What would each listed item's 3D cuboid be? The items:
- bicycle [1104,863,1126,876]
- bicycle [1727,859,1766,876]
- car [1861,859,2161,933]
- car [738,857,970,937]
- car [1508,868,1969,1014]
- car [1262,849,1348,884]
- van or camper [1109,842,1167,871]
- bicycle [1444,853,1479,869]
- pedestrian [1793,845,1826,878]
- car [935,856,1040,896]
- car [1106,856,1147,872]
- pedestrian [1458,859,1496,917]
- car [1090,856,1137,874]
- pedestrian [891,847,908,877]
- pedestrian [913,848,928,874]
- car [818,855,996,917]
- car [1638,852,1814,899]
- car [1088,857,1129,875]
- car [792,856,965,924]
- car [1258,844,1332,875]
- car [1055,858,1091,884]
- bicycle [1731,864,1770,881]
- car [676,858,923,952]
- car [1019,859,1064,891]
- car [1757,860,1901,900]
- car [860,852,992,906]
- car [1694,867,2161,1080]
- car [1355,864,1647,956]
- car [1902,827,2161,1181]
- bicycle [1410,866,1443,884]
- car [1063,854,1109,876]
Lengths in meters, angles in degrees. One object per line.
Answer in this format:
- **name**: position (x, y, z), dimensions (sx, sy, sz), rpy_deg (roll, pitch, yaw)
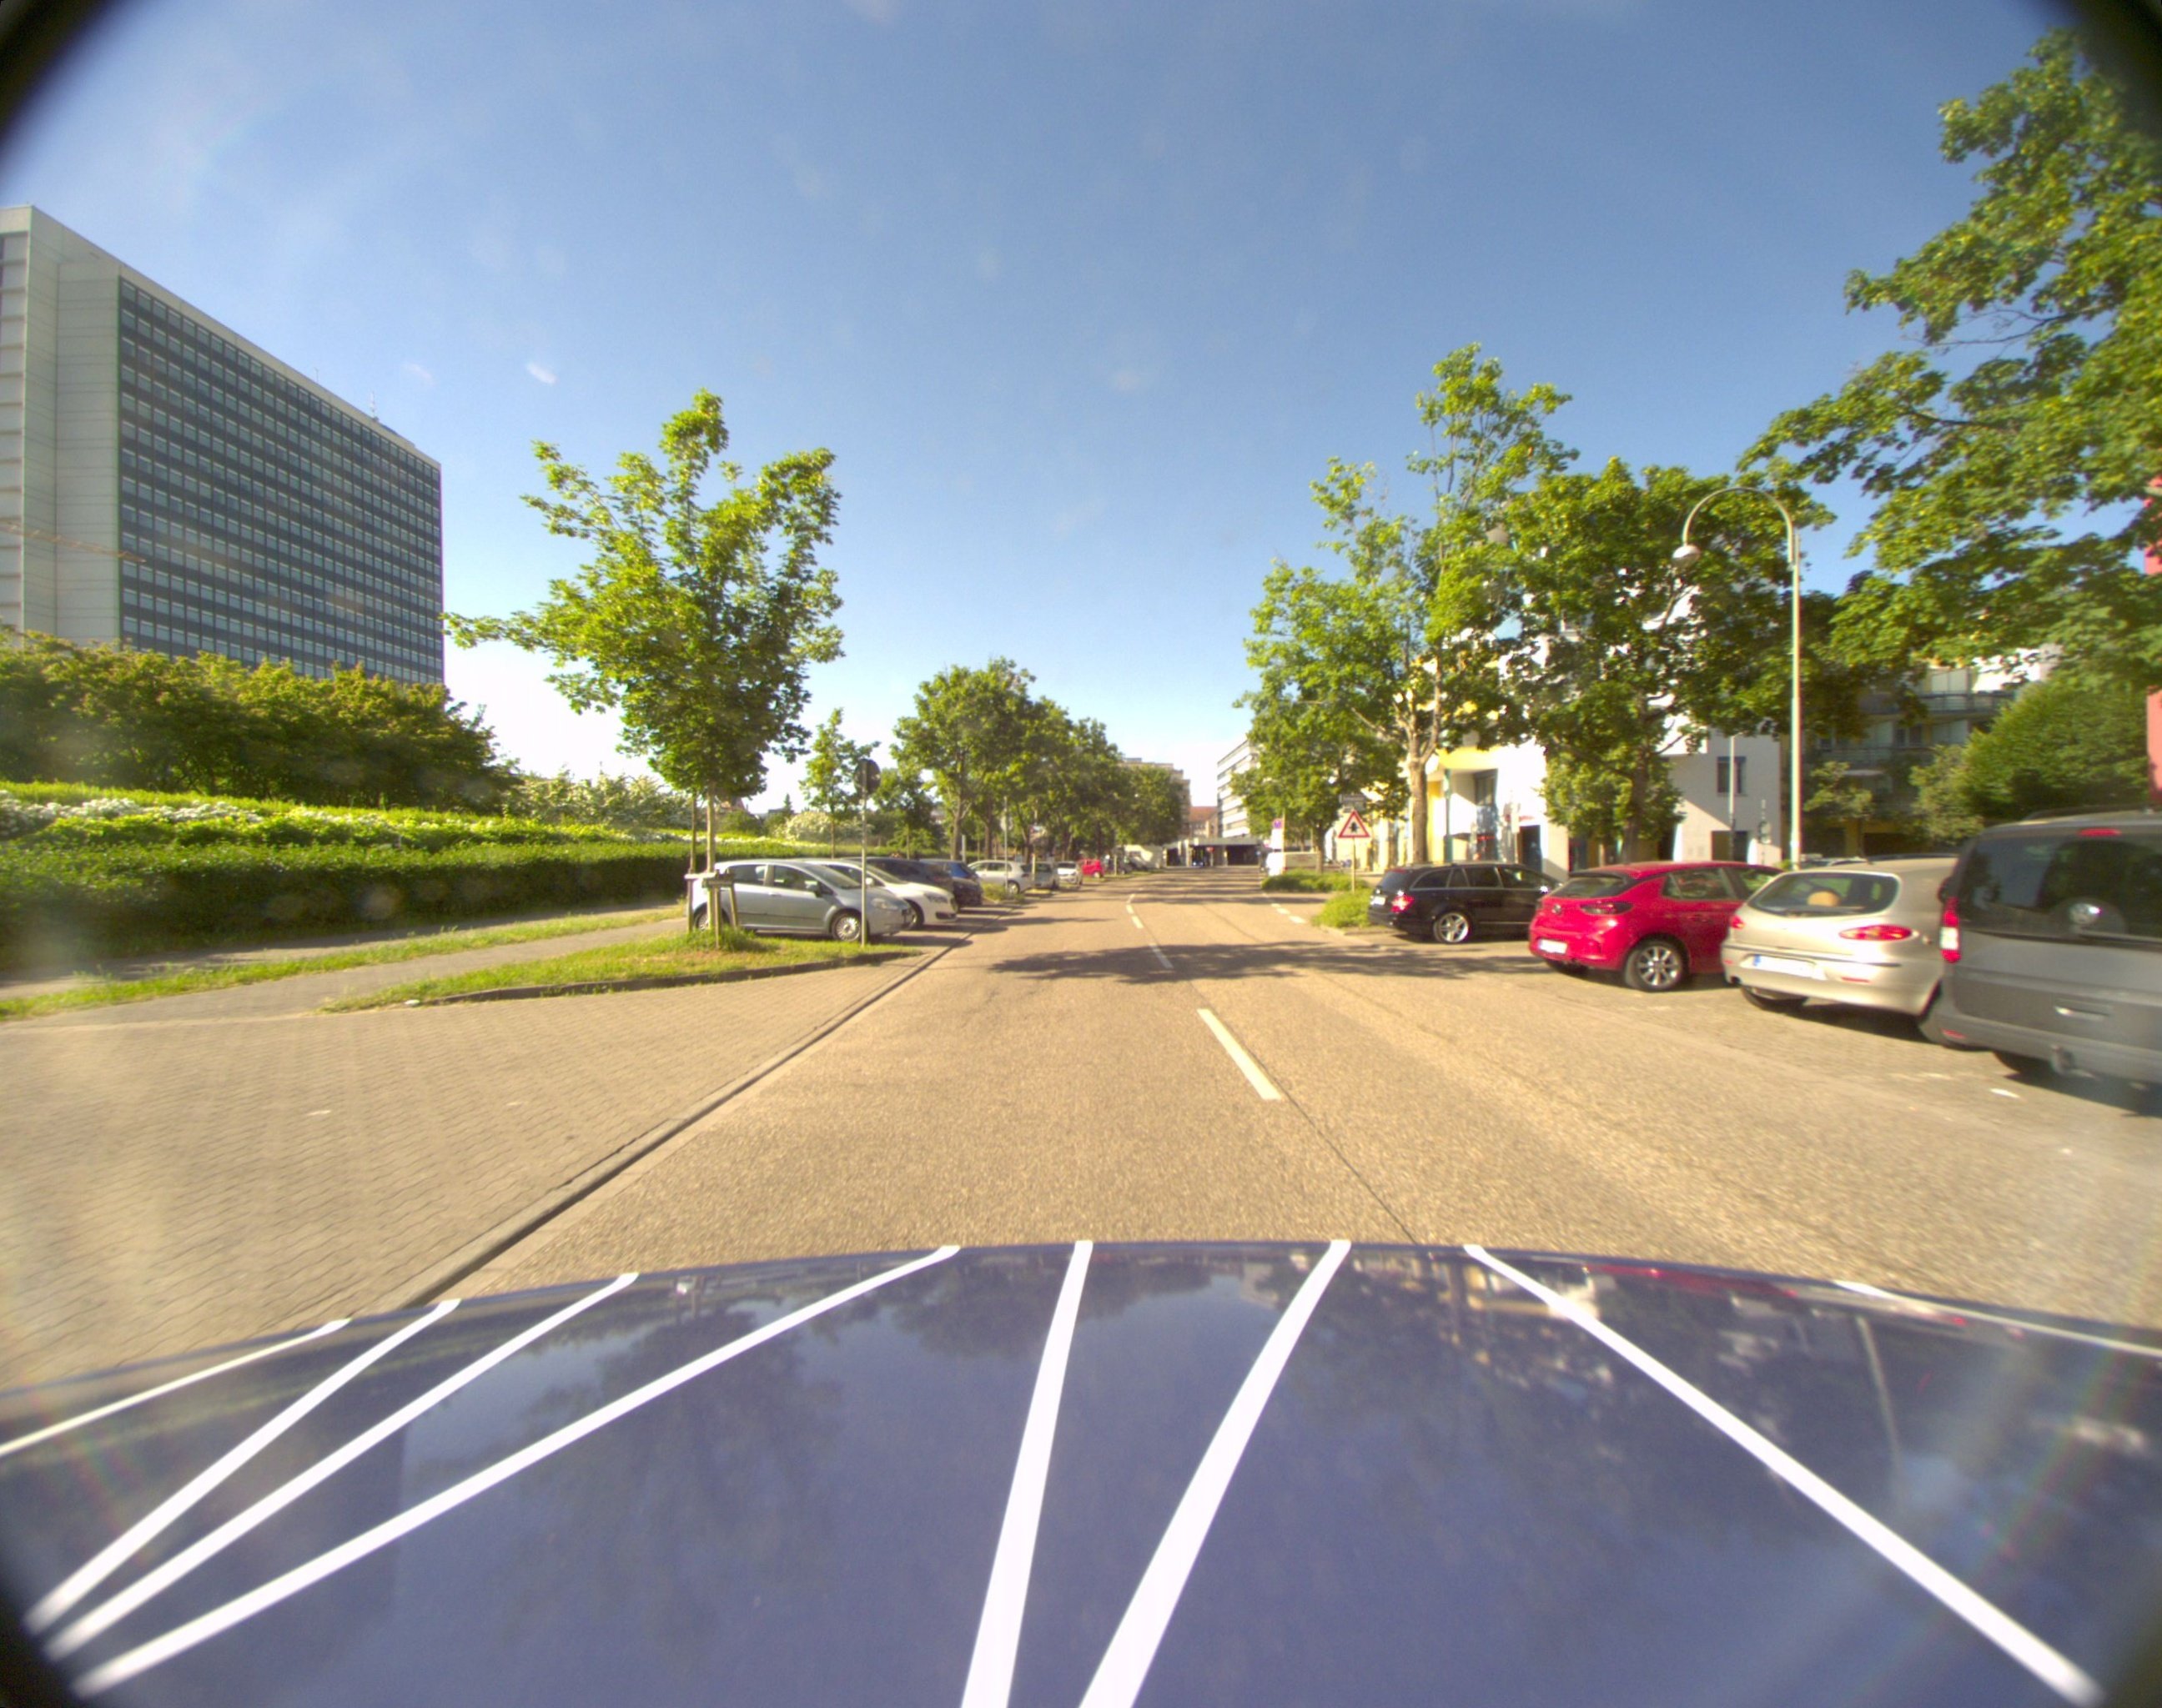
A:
- **bicycle**: position (2.845, 1.317, 64.212), dimensions (1.752, 0.985, 0.531), rpy_deg (2, 1, 25)
- **bicycle**: position (34.962, 0.714, 39.948), dimensions (1.803, 0.867, 0.288), rpy_deg (0, 1, -1)
- **car**: position (20.483, 0.847, 16.874), dimensions (1.740, 1.434, 4.128), rpy_deg (1, -1, -11)
- **car**: position (-4.942, 0.912, 17.066), dimensions (4.561, 1.506, 1.982), rpy_deg (2, 1, 0)
- **car**: position (7.531, 0.950, 9.016), dimensions (3.901, 1.415, 1.739), rpy_deg (-2, 0, 1)
- **car**: position (13.634, 0.726, 46.189), dimensions (4.776, 1.973, 1.997), rpy_deg (-1, -1, -23)
- **van or camper**: position (6.300, 0.258, 84.116), dimensions (5.990, 2.967, 2.673), rpy_deg (2, 1, 12)
- **bicycle**: position (22.082, 0.420, 44.115), dimensions (1.803, 0.867, 0.491), rpy_deg (-2, 1, -6)
- **pedestrian**: position (34.077, 0.355, 35.536), dimensions (0.798, 1.505, 0.719), rpy_deg (-2, 0, -1)
- **car**: position (-3.937, 0.904, 32.386), dimensions (4.096, 1.421, 1.643), rpy_deg (4, 1, 7)
- **car**: position (4.912, 1.040, 81.451), dimensions (4.155, 1.537, 1.861), rpy_deg (3, 1, 11)
- **pedestrian**: position (12.110, 1.026, 23.276), dimensions (0.658, 1.715, 1.022), rpy_deg (1, 1, 5)
- **car**: position (3.172, 1.090, 73.918), dimensions (4.199, 1.537, 1.861), rpy_deg (3, 1, 14)
- **pedestrian**: position (-9.674, 0.422, 40.589), dimensions (0.608, 1.533, 0.937), rpy_deg (0, 0, 5)
- **pedestrian**: position (-10.018, 0.421, 47.520), dimensions (0.725, 1.578, 0.853), rpy_deg (0, 0, 3)
- **car**: position (-4.920, 0.874, 21.978), dimensions (4.560, 1.506, 2.158), rpy_deg (2, 1, 1)
- **car**: position (20.329, 0.702, 24.083), dimensions (3.992, 1.438, 1.804), rpy_deg (0, -2, 0)
- **car**: position (2.576, 1.135, 71.280), dimensions (3.467, 1.470, 1.861), rpy_deg (3, 1, 11)
- **car**: position (-5.077, 0.874, 19.390), dimensions (3.885, 1.506, 1.751), rpy_deg (2, 1, 1)
- **car**: position (17.964, 0.480, 63.810), dimensions (5.507, 2.422, 2.184), rpy_deg (-2, 0, -14)
- **car**: position (-0.448, 1.060, 47.700), dimensions (1.646, 1.485, 3.768), rpy_deg (2, 0, 8)
- **bicycle**: position (34.924, 0.970, 39.638), dimensions (1.803, 0.867, 0.288), rpy_deg (0, 1, -1)
- **car**: position (-5.157, 0.902, 14.254), dimensions (3.957, 1.506, 1.702), rpy_deg (2, 1, 2)
- **car**: position (-2.010, 1.071, 40.429), dimensions (1.813, 1.484, 4.625), rpy_deg (2, 0, 4)
- **car**: position (32.280, 1.099, 32.891), dimensions (4.245, 1.584, 2.000), rpy_deg (-1, -1, 0)
- **car**: position (-4.973, 0.784, 24.706), dimensions (3.814, 1.440, 1.745), rpy_deg (3, 1, 3)
- **car**: position (7.879, 0.895, 6.447), dimensions (3.901, 1.415, 1.739), rpy_deg (-2, 0, 1)
- **car**: position (7.438, 0.973, 13.800), dimensions (4.272, 1.415, 1.740), rpy_deg (-2, 0, 4)
- **car**: position (7.464, 0.707, 4.178), dimensions (3.901, 1.800, 1.786), rpy_deg (-2, 0, 1)
- **bicycle**: position (22.193, 1.326, 48.803), dimensions (1.800, 1.091, 0.702), rpy_deg (1, 0, 14)
- **car**: position (0.420, 0.891, 61.882), dimensions (3.438, 1.535, 1.629), rpy_deg (3, 1, 14)
